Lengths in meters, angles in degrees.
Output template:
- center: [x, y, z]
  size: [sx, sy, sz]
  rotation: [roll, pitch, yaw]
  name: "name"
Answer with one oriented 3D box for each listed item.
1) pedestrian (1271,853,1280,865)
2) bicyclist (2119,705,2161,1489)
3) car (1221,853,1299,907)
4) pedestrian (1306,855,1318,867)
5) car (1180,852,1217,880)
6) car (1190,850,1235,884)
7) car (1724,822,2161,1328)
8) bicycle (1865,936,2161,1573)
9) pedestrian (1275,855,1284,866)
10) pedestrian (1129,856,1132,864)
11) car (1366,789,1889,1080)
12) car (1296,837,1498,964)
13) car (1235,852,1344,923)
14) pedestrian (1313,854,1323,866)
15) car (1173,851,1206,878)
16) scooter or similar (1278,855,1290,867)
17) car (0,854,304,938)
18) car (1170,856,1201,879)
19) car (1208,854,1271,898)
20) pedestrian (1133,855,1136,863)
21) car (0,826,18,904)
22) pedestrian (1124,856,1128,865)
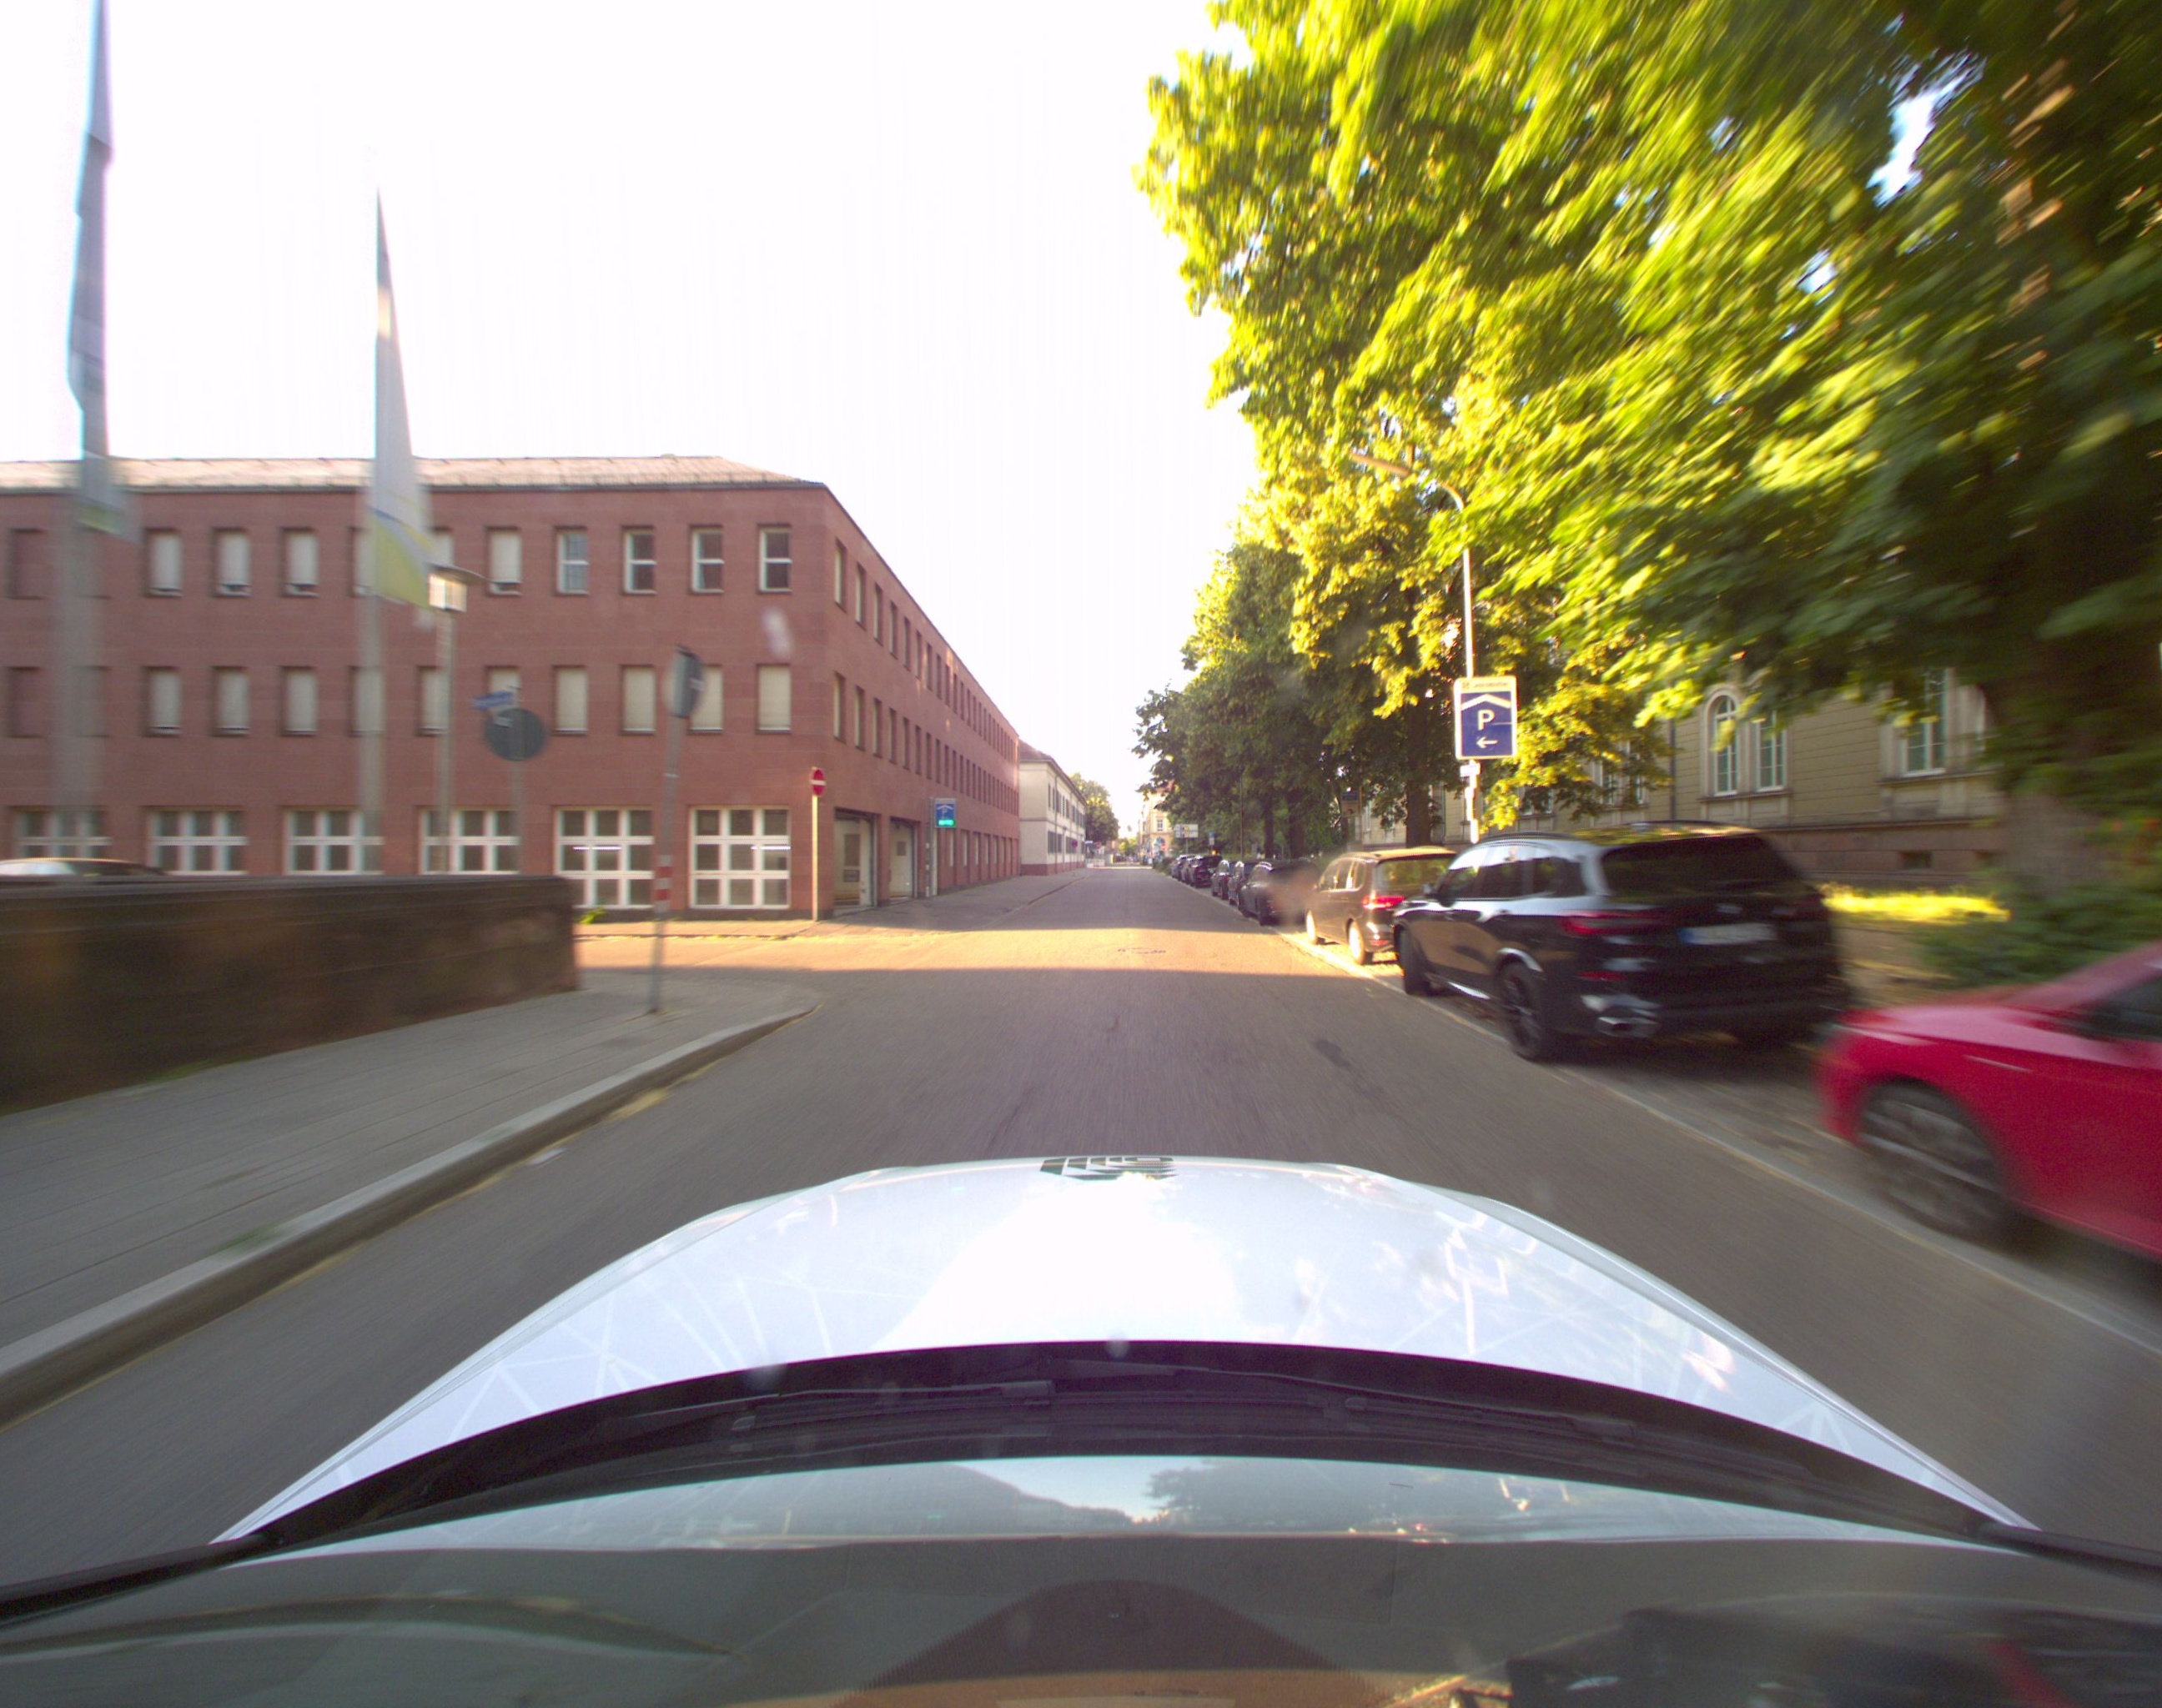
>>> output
- center: [20.555, 0.540, 85.988]
  size: [0.656, 1.191, 0.800]
  rotation: [-1, -1, 31]
  name: "pedestrian"
- center: [2.581, 0.498, 1.207]
  size: [0.748, 1.612, 1.038]
  rotation: [-1, 0, 1]
  name: "bicyclist"
- center: [5.587, 0.802, 25.843]
  size: [1.717, 1.534, 4.192]
  rotation: [-1, -1, 3]
  name: "car"
- center: [25.084, 0.769, 88.382]
  size: [0.917, 1.347, 0.881]
  rotation: [-1, -1, -13]
  name: "pedestrian"
- center: [6.721, 0.713, 47.086]
  size: [1.717, 1.538, 4.192]
  rotation: [-1, -1, 3]
  name: "car"
- center: [6.750, 0.690, 42.049]
  size: [1.799, 1.651, 4.421]
  rotation: [-1, -1, 3]
  name: "car"
- center: [4.239, 0.677, 2.306]
  size: [1.718, 1.589, 3.969]
  rotation: [-1, -1, 1]
  name: "car"
- center: [2.611, 0.867, 1.224]
  size: [0.748, 1.253, 2.210]
  rotation: [-1, 0, 1]
  name: "bicycle"
- center: [21.158, 0.673, 86.867]
  size: [0.802, 1.191, 0.790]
  rotation: [-1, -1, 6]
  name: "pedestrian"
- center: [9.971, 1.177, 164.032]
  size: [0.655, 1.636, 0.746]
  rotation: [-1, -1, 3]
  name: "pedestrian"
- center: [4.307, 0.557, 7.630]
  size: [1.797, 1.813, 4.952]
  rotation: [-1, -1, 4]
  name: "car"
- center: [4.844, 0.673, 13.222]
  size: [1.717, 1.682, 4.502]
  rotation: [-1, -1, 3]
  name: "car"
- center: [5.023, 0.784, 20.262]
  size: [1.717, 1.534, 4.626]
  rotation: [-1, -1, 3]
  name: "car"
- center: [25.879, 0.663, 88.833]
  size: [0.760, 1.347, 0.784]
  rotation: [-1, -1, -13]
  name: "pedestrian"
- center: [6.978, 0.719, 52.946]
  size: [1.717, 1.651, 4.716]
  rotation: [-1, -1, 3]
  name: "car"
- center: [21.400, 0.737, 85.823]
  size: [1.218, 1.245, 0.416]
  rotation: [-1, -1, -14]
  name: "scooter or similar"
- center: [-17.725, 0.746, 14.895]
  size: [5.072, 1.412, 2.000]
  rotation: [0, -2, 1]
  name: "car"
- center: [7.545, 0.956, 59.150]
  size: [1.717, 1.488, 4.612]
  rotation: [-4, -1, 2]
  name: "car"
- center: [5.943, 0.814, 31.060]
  size: [1.727, 1.506, 4.525]
  rotation: [-1, -1, 3]
  name: "car"
- center: [10.637, 1.007, 162.029]
  size: [0.655, 1.617, 0.746]
  rotation: [-1, -1, 3]
  name: "pedestrian"
- center: [-23.507, 0.172, 15.086]
  size: [5.071, 1.509, 2.001]
  rotation: [0, -2, 2]
  name: "car"
- center: [9.077, 1.277, 164.076]
  size: [0.654, 1.760, 0.746]
  rotation: [-1, -1, 4]
  name: "pedestrian"
